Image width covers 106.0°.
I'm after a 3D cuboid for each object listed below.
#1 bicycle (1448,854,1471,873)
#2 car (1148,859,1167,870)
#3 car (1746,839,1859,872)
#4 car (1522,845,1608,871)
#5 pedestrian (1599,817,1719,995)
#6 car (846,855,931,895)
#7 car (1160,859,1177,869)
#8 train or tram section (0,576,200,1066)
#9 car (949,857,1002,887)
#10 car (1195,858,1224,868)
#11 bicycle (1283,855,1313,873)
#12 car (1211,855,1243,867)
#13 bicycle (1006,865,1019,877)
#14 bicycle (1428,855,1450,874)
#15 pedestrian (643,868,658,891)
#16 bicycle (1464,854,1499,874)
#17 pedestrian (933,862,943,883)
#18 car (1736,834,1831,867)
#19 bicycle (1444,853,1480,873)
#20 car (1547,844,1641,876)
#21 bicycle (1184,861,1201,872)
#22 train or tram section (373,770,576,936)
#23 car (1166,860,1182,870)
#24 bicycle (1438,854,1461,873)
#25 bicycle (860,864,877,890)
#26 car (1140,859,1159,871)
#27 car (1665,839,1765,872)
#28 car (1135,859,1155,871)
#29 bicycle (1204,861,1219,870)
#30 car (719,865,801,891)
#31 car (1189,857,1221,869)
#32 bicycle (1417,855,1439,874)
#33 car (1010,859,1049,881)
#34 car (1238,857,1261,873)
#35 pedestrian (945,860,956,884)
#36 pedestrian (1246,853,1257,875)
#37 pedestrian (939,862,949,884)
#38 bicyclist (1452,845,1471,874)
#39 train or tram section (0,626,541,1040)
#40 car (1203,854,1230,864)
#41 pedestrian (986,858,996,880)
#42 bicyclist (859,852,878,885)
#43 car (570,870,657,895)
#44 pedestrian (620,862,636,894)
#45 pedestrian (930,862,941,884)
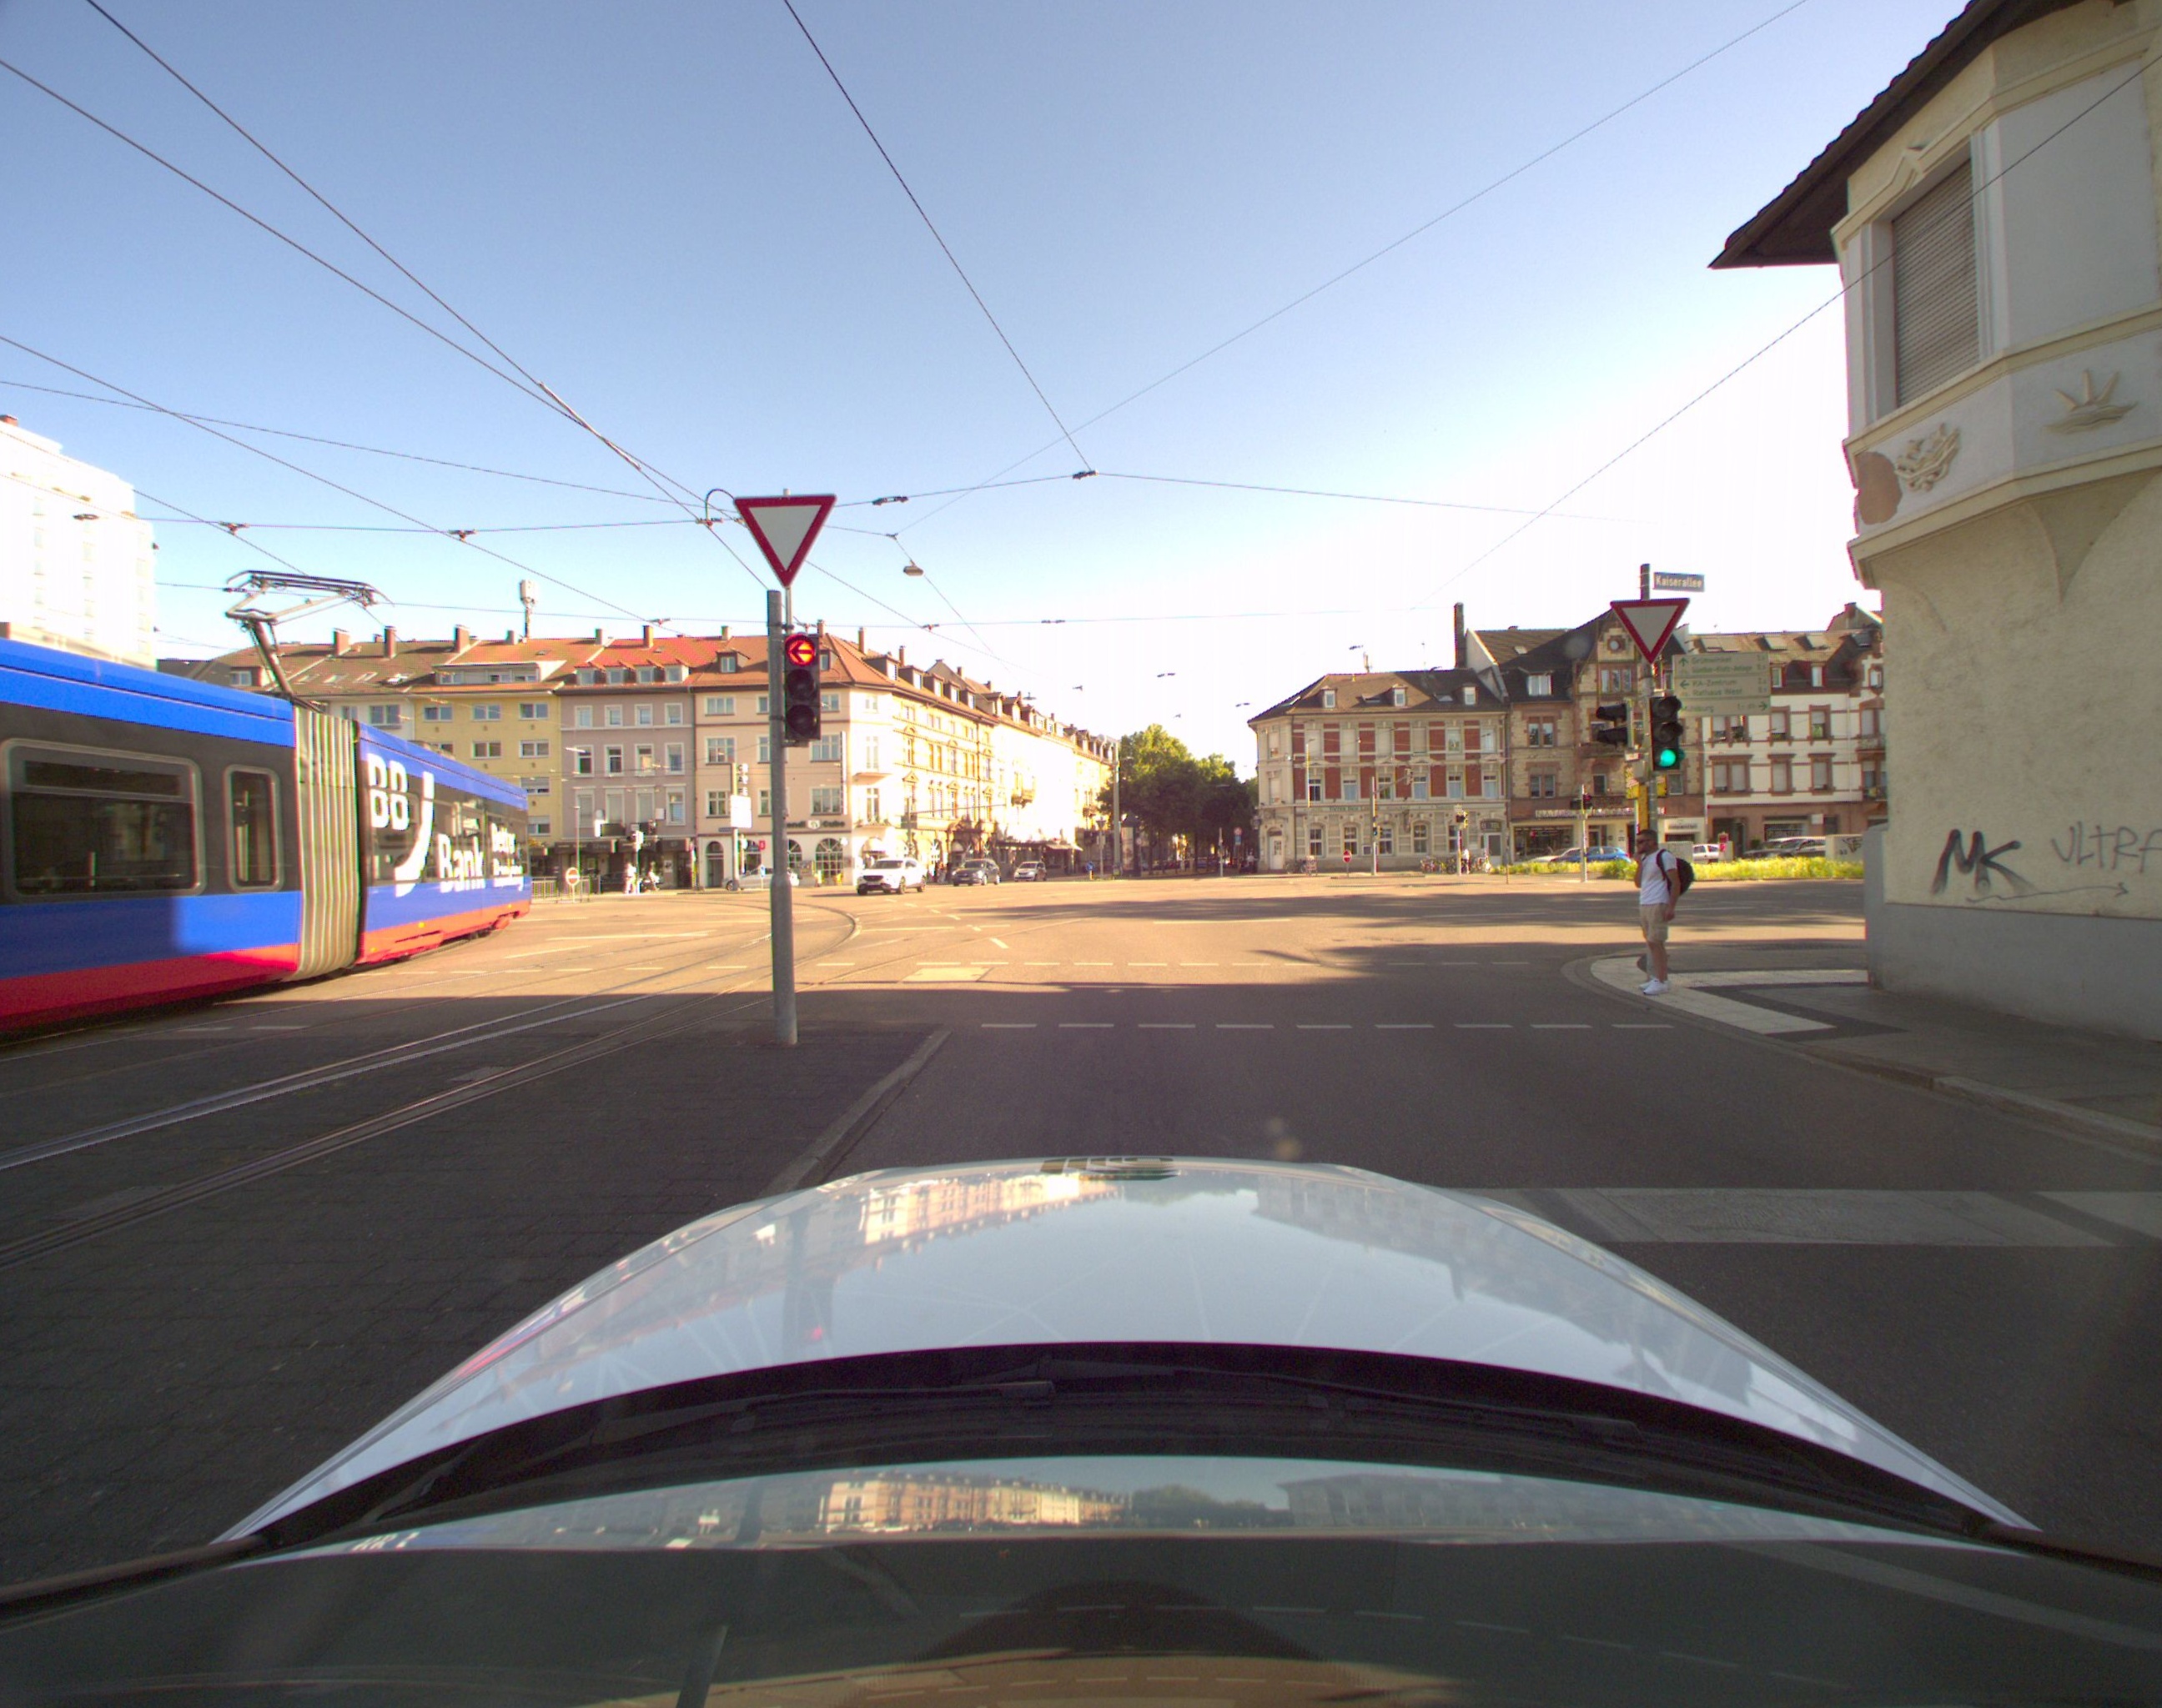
[{"bbox_3d":[24.517,0.585,52.756,0.674,1.191,1.969,-1,0,3],"label":"bicycle"},{"bbox_3d":[11.517,1.611,122.523,1.978,1.497,4.051,-2,0,16],"label":"car"},{"bbox_3d":[39.547,0.062,44.722,4.456,1.668,1.955,-2,0,1],"label":"car"},{"bbox_3d":[28.507,0.254,48.041,3.973,1.412,1.846,-2,0,1],"label":"car"},{"bbox_3d":[6.058,0.526,8.550,0.691,1.740,0.668,-4,-1,-28],"label":"pedestrian"},{"bbox_3d":[-7.857,0.828,33.682,1.983,1.497,4.355,-2,0,6],"label":"car"},{"bbox_3d":[14.228,1.595,131.661,1.978,1.497,4.051,-2,0,16],"label":"car"},{"bbox_3d":[-8.975,-0.234,1.266,3.052,3.613,12.087,-1,0,-6],"label":"train or tram section"},{"bbox_3d":[-5.765,0.960,45.193,1.764,1.497,4.583,-2,0,7],"label":"car"},{"bbox_3d":[20.197,1.438,128.028,3.949,1.545,2.012,-2,0,30],"label":"car"},{"bbox_3d":[15.186,0.712,56.979,1.950,1.191,0.547,-2,0,6],"label":"bicycle"},{"bbox_3d":[20.833,1.002,116.115,3.948,1.545,2.013,-2,0,32],"label":"car"},{"bbox_3d":[-6.712,1.672,79.888,0.491,1.067,1.778,-2,0,18],"label":"bicycle"},{"bbox_3d":[23.196,0.651,52.794,0.674,1.191,1.969,-1,0,3],"label":"bicycle"},{"bbox_3d":[-30.177,1.779,57.059,0.657,1.524,0.693,-1,0,-7],"label":"pedestrian"},{"bbox_3d":[25.742,0.633,52.328,1.961,1.191,0.677,-1,0,-10],"label":"bicycle"},{"bbox_3d":[-11.053,1.414,62.836,0.546,1.642,0.540,-2,0,17],"label":"pedestrian"},{"bbox_3d":[45.233,-0.197,52.517,4.388,1.965,1.955,-2,0,1],"label":"car"},{"bbox_3d":[23.638,0.578,50.526,1.952,1.191,0.602,-2,0,4],"label":"bicycle"},{"bbox_3d":[28.315,0.332,45.048,3.973,1.668,1.955,-2,0,1],"label":"car"},{"bbox_3d":[11.329,1.279,82.663,0.586,1.067,1.928,-1,0,-34],"label":"bicycle"},{"bbox_3d":[-16.885,0.028,23.691,3.074,3.613,12.001,-1,0,-29],"label":"train or tram section"},{"bbox_3d":[15.555,1.873,136.366,1.978,1.497,4.051,-2,0,16],"label":"car"},{"bbox_3d":[23.845,0.618,52.779,0.674,1.191,1.969,-1,0,3],"label":"bicycle"},{"bbox_3d":[-10.131,1.092,38.837,0.484,1.166,2.051,-1,0,-7],"label":"bicycle"},{"bbox_3d":[9.900,1.578,117.322,1.978,1.497,4.051,-2,0,16],"label":"car"},{"bbox_3d":[34.803,0.085,44.783,3.973,1.668,1.955,-2,0,1],"label":"car"},{"bbox_3d":[8.929,1.549,112.856,1.978,1.497,4.051,-2,0,16],"label":"car"},{"bbox_3d":[15.869,1.352,99.057,0.586,1.067,1.928,-1,0,-34],"label":"bicycle"},{"bbox_3d":[-18.984,1.417,48.299,4.212,1.355,1.991,-1,0,-13],"label":"car"},{"bbox_3d":[17.526,1.301,115.445,3.949,1.545,2.012,-2,0,30],"label":"car"},{"bbox_3d":[22.494,0.640,52.785,0.674,1.191,1.969,-1,0,3],"label":"bicycle"},{"bbox_3d":[-3.823,1.179,60.770,1.705,1.497,3.599,-2,0,16],"label":"car"},{"bbox_3d":[17.012,1.143,82.185,1.978,1.497,4.051,-2,0,16],"label":"car"},{"bbox_3d":[-10.269,1.419,64.143,0.575,1.836,0.636,-2,0,18],"label":"pedestrian"},{"bbox_3d":[12.840,0.740,61.313,0.710,1.669,0.943,-2,0,14],"label":"pedestrian"},{"bbox_3d":[-10.662,1.467,63.404,0.546,1.642,0.636,-2,0,16],"label":"pedestrian"},{"bbox_3d":[23.608,0.340,50.524,0.869,1.764,0.602,-1,0,4],"label":"bicyclist"},{"bbox_3d":[-11.664,-0.121,12.912,3.069,3.613,12.402,-1,0,-24],"label":"train or tram section"},{"bbox_3d":[22.285,0.842,133.907,3.949,1.545,2.012,-2,0,30],"label":"car"},{"bbox_3d":[-8.075,1.329,73.325,0.676,1.908,0.636,-2,0,18],"label":"pedestrian"},{"bbox_3d":[-10.099,0.691,38.770,0.714,1.559,0.984,-1,0,-6],"label":"bicyclist"},{"bbox_3d":[-30.704,1.862,53.548,4.626,1.440,1.743,-1,-1,-1],"label":"car"},{"bbox_3d":[-24.034,1.272,43.193,0.729,1.627,0.665,-1,0,-30],"label":"pedestrian"},{"bbox_3d":[-11.345,1.474,63.602,0.622,1.642,0.540,-2,0,15],"label":"pedestrian"}]
